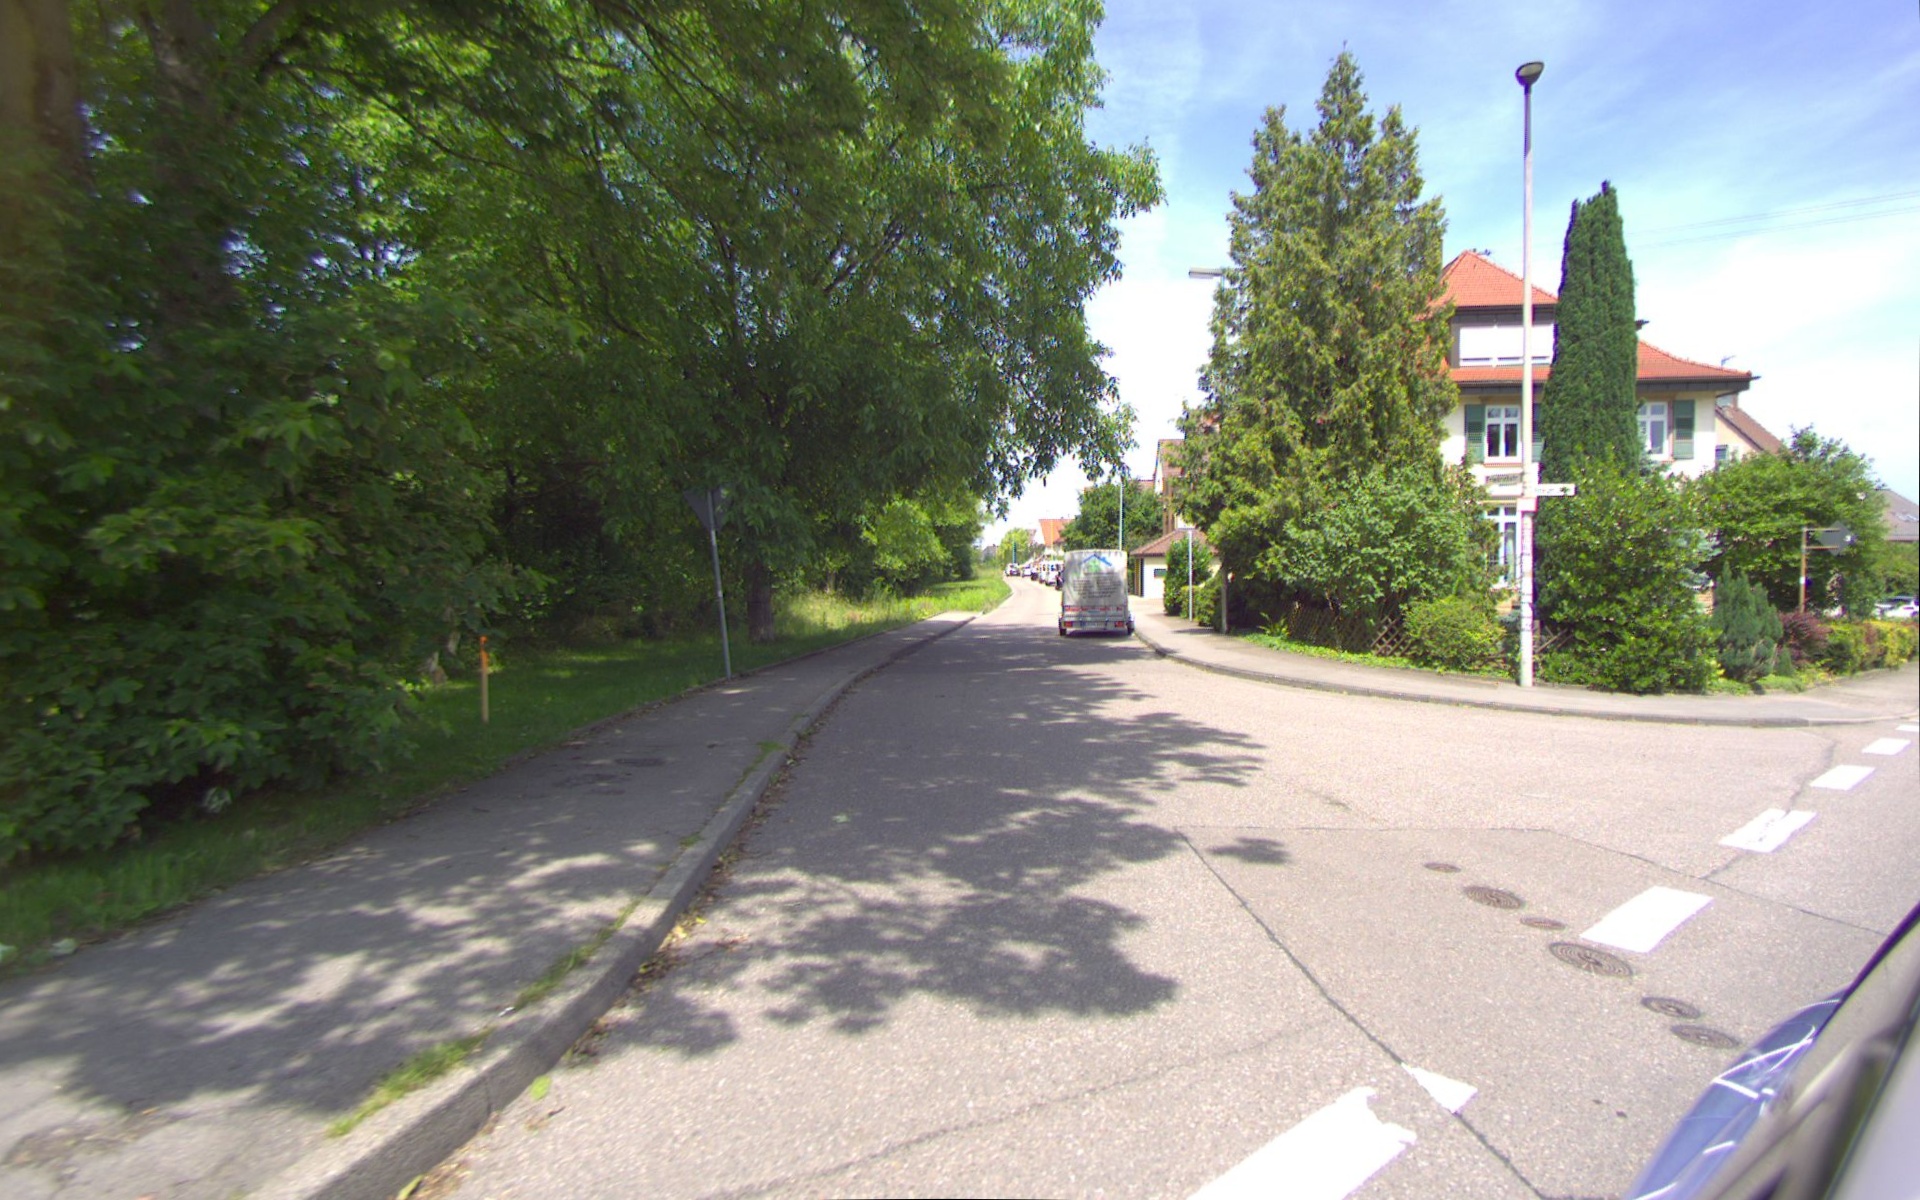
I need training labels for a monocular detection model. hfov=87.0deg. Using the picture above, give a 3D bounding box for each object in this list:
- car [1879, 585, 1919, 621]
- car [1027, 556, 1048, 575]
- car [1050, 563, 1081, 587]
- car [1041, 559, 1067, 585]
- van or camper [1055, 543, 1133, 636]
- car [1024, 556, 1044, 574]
[{"bbox_3d":[44.729,0.116,47.784,3.499,1.500,1.608,-4,4,-42],"label":"car"},{"bbox_3d":[7.978,-3.517,104.154,1.813,1.872,3.898,0,1,0],"label":"car"},{"bbox_3d":[7.497,-1.771,72.161,1.813,1.596,3.898,0,1,0],"label":"car"},{"bbox_3d":[7.746,-2.320,83.713,1.813,2.107,3.898,0,1,0],"label":"car"},{"bbox_3d":[3.462,-0.302,26.008,1.789,2.166,3.381,-2,1,9],"label":"van or camper"},{"bbox_3d":[7.953,-3.737,108.733,1.813,1.872,3.899,0,1,0],"label":"car"}]
